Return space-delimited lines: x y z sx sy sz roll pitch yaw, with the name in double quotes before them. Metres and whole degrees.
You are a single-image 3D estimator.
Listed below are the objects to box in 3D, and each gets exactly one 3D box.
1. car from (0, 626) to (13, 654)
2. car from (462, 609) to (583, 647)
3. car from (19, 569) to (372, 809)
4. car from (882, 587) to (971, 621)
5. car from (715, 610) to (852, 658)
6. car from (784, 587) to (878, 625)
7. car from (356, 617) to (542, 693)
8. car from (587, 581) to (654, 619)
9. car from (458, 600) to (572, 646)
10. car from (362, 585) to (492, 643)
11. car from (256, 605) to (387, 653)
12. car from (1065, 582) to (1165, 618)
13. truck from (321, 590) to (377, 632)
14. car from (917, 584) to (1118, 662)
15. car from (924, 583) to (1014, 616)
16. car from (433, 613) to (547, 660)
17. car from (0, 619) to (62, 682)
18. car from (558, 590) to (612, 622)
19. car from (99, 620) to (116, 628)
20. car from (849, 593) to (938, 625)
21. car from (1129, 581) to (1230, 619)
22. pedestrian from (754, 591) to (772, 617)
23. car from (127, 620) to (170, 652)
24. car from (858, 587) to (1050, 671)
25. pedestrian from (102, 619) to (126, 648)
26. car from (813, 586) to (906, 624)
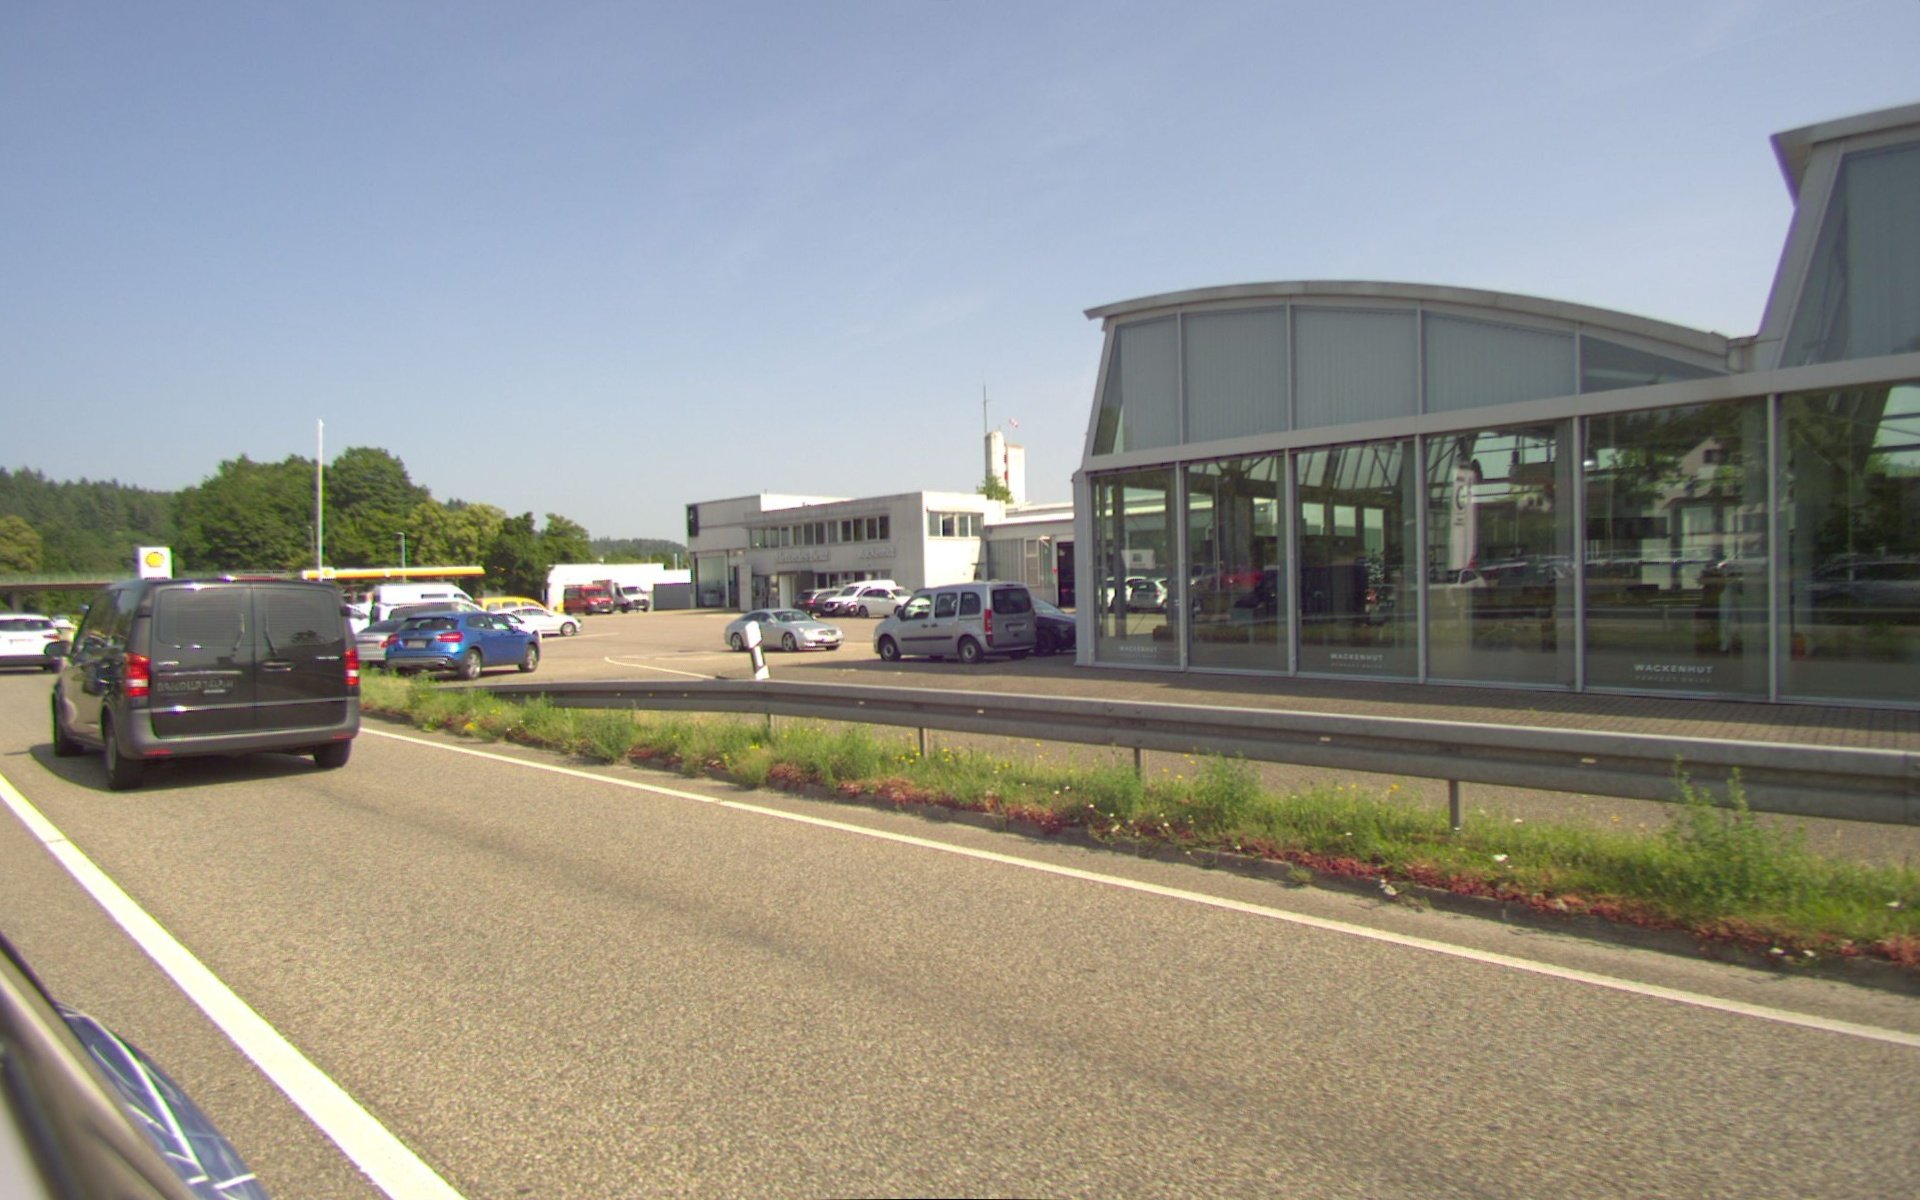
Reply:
"car" -52.271 2.131 54.539 1.731 1.486 4.290 1 -2 -44
"car" -19.076 1.192 44.270 1.967 1.409 4.417 -1 1 43
"car" -7.996 0.757 10.387 4.908 1.900 1.894 -1 -2 41
"car" -1.792 0.220 52.694 4.832 1.578 1.785 -3 -1 44
"car" -5.691 1.089 32.246 4.832 1.397 1.785 -3 -1 44
"car" -7.041 0.314 55.503 2.212 1.868 4.760 -3 -1 45
"car" -11.536 1.180 23.206 1.959 1.518 4.228 -1 -1 3
"car" -27.156 0.047 80.907 6.531 2.877 2.367 -2 -1 45
"car" -20.475 1.044 46.671 2.001 1.821 4.333 -2 2 43
"car" -28.441 0.712 54.188 2.287 2.765 5.656 -1 2 45
"car" -29.019 1.285 46.118 2.144 1.871 4.620 -2 1 43
"car" 7.505 -0.008 48.810 4.757 1.578 2.214 -1 -1 -42
"truck" -65.983 1.113 109.666 3.010 4.165 16.828 0 0 -24
"car" 1.311 0.587 24.920 4.939 1.726 1.785 -3 -1 44
"car" 0.420 -0.024 53.607 4.832 1.578 1.785 -3 -1 44
"car" -16.513 1.252 35.827 1.873 1.413 4.227 -1 1 3
"car" -26.445 1.348 28.046 4.225 1.642 1.773 -1 -2 41
"car" -29.032 0.479 78.207 5.225 2.404 1.859 -2 -1 45
"car" -127.079 3.569 150.884 1.780 1.181 4.109 1 -2 -37
"car" -3.360 0.427 50.385 4.568 1.503 1.785 0 1 44
"car" 10.199 -0.001 46.813 4.757 1.578 2.214 -1 -1 -42
"pedestrian" -12.706 0.248 65.219 0.850 1.702 0.811 -1 0 41
"car" -45.944 2.043 57.282 1.788 1.642 4.548 1 -4 -40
"car" -0.221 0.665 23.237 4.409 1.726 1.785 -3 -1 45
"pedestrian" -50.642 1.973 60.578 0.835 1.702 1.147 0 0 -27
"car" -5.309 0.257 54.049 1.954 1.868 4.760 -3 -1 45
